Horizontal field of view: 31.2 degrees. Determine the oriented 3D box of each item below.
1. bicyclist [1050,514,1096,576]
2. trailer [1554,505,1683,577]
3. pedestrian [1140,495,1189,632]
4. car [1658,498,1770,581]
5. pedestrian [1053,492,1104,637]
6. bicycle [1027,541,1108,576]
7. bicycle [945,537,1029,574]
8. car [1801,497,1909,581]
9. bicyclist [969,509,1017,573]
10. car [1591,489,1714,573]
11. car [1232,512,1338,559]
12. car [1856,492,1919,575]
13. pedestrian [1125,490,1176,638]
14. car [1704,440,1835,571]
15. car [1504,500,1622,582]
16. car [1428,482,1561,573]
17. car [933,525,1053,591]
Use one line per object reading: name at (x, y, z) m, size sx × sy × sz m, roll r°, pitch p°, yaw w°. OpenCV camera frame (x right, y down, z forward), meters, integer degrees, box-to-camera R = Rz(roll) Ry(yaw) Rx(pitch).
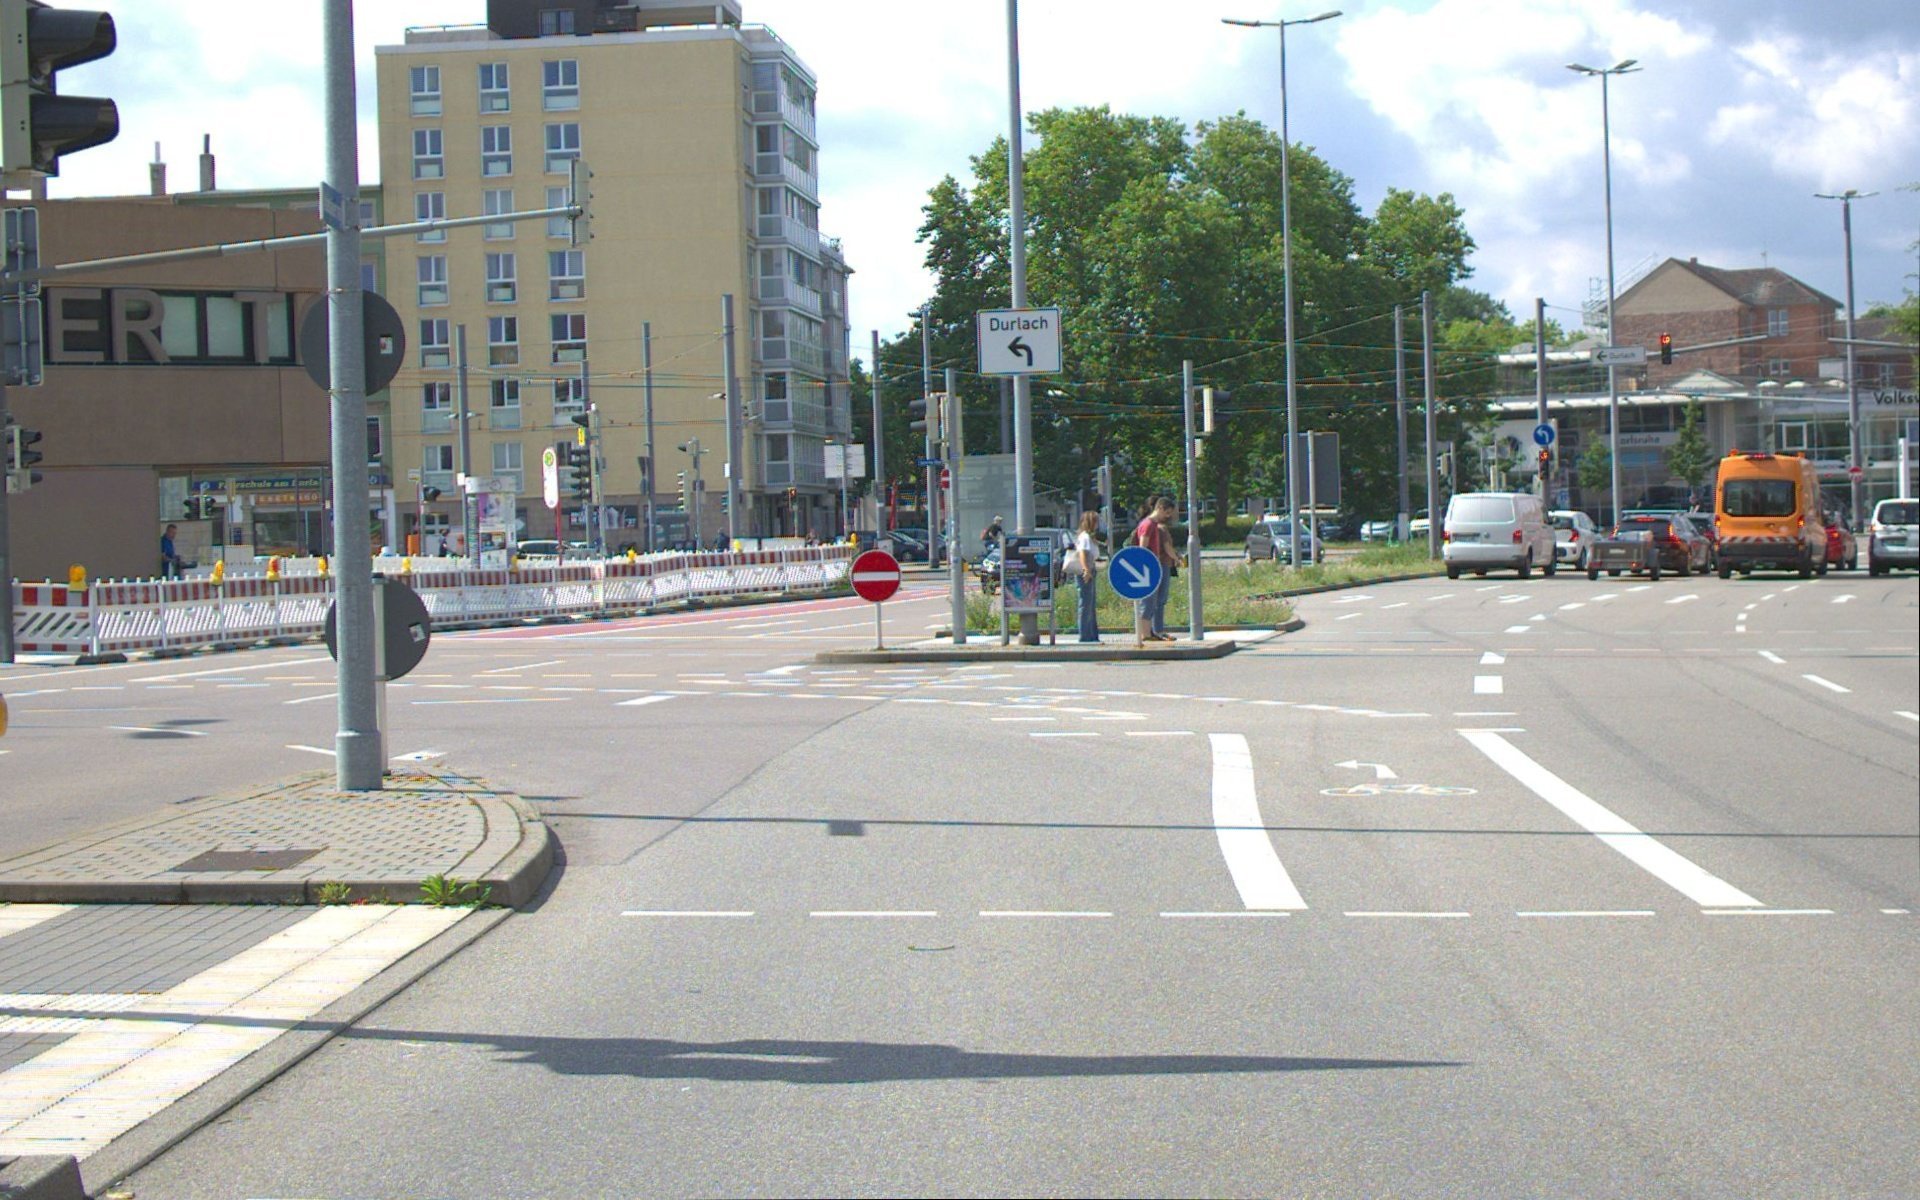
bicyclist at (3.563, -1.737, 108.609) m, size 1.220 × 1.903 × 0.833 m, roll -1°, pitch 1°, yaw 18°
trailer at (14.717, -1.340, 76.661) m, size 1.996 × 1.472 × 3.996 m, roll -2°, pitch 1°, yaw 23°
pedestrian at (2.541, -0.464, 42.744) m, size 0.525 × 1.678 × 0.623 m, roll -1°, pitch 1°, yaw 7°
car at (18.946, -1.533, 86.243) m, size 1.993 × 1.932 × 4.634 m, roll -2°, pitch 1°, yaw 22°
pedestrian at (1.432, -0.432, 41.482) m, size 0.525 × 1.727 × 0.623 m, roll -1°, pitch 1°, yaw 7°
bicycle at (3.392, -1.313, 108.682) m, size 2.381 × 1.063 × 0.842 m, roll -1°, pitch 1°, yaw 18°
bicycle at (0.822, -1.356, 104.472) m, size 2.381 × 1.063 × 0.858 m, roll -1°, pitch 1°, yaw 18°
car at (22.191, -1.531, 85.154) m, size 1.993 × 1.932 × 4.634 m, roll -2°, pitch 1°, yaw 22°
bicyclist at (1.004, -1.780, 104.390) m, size 1.220 × 1.903 × 0.858 m, roll -1°, pitch 1°, yaw 18°
car at (16.146, -1.626, 80.063) m, size 1.996 × 1.820 × 3.996 m, roll -2°, pitch 1°, yaw 23°
car at (10.748, -2.155, 113.887) m, size 1.661 × 1.475 × 4.063 m, roll 0°, pitch 2°, yaw -24°
car at (21.706, -1.550, 78.102) m, size 1.996 × 1.788 × 3.995 m, roll -2°, pitch 1°, yaw 23°
pedestrian at (2.255, -0.429, 40.606) m, size 0.525 × 1.727 × 0.623 m, roll -1°, pitch 1°, yaw 7°
car at (18.217, -2.123, 77.204) m, size 2.132 × 2.771 × 4.634 m, roll -2°, pitch 1°, yaw 22°
car at (15.296, -1.523, 86.957) m, size 1.993 × 1.932 × 4.634 m, roll -2°, pitch 1°, yaw 22°
car at (12.358, -1.688, 79.245) m, size 2.008 × 1.960 × 4.634 m, roll -2°, pitch 1°, yaw 22°
car at (0.777, -0.962, 76.873) m, size 1.793 × 1.383 × 4.225 m, roll -1°, pitch 1°, yaw 13°
